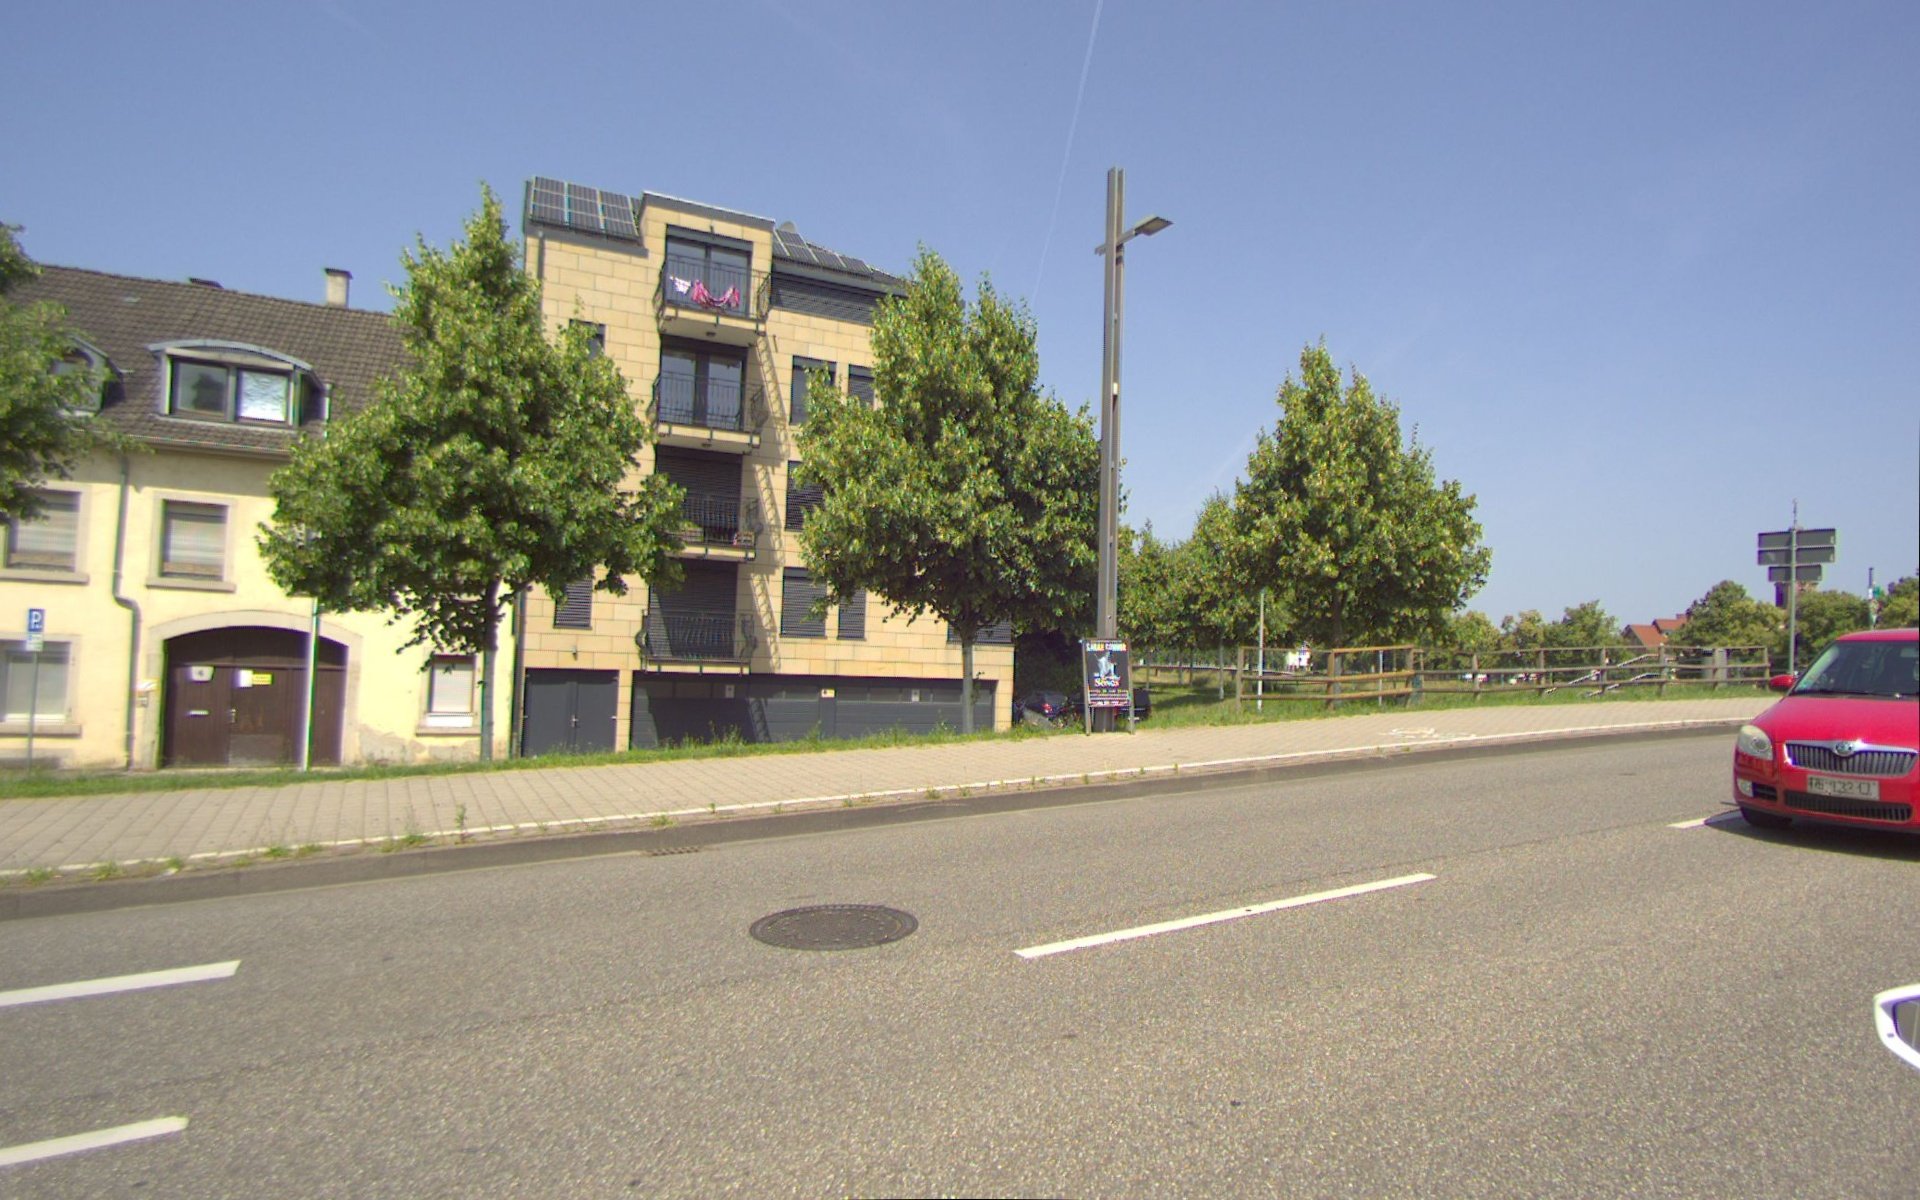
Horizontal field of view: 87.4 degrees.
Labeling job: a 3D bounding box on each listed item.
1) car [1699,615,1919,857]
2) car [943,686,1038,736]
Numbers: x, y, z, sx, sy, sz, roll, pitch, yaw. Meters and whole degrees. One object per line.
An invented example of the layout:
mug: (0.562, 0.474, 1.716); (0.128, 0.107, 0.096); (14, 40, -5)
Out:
car: (7.321, 0.897, 7.502); (3.819, 1.483, 1.638); (2, -2, -32)
car: (1.062, 4.058, 37.307); (1.973, 1.670, 3.976); (2, -4, -25)
